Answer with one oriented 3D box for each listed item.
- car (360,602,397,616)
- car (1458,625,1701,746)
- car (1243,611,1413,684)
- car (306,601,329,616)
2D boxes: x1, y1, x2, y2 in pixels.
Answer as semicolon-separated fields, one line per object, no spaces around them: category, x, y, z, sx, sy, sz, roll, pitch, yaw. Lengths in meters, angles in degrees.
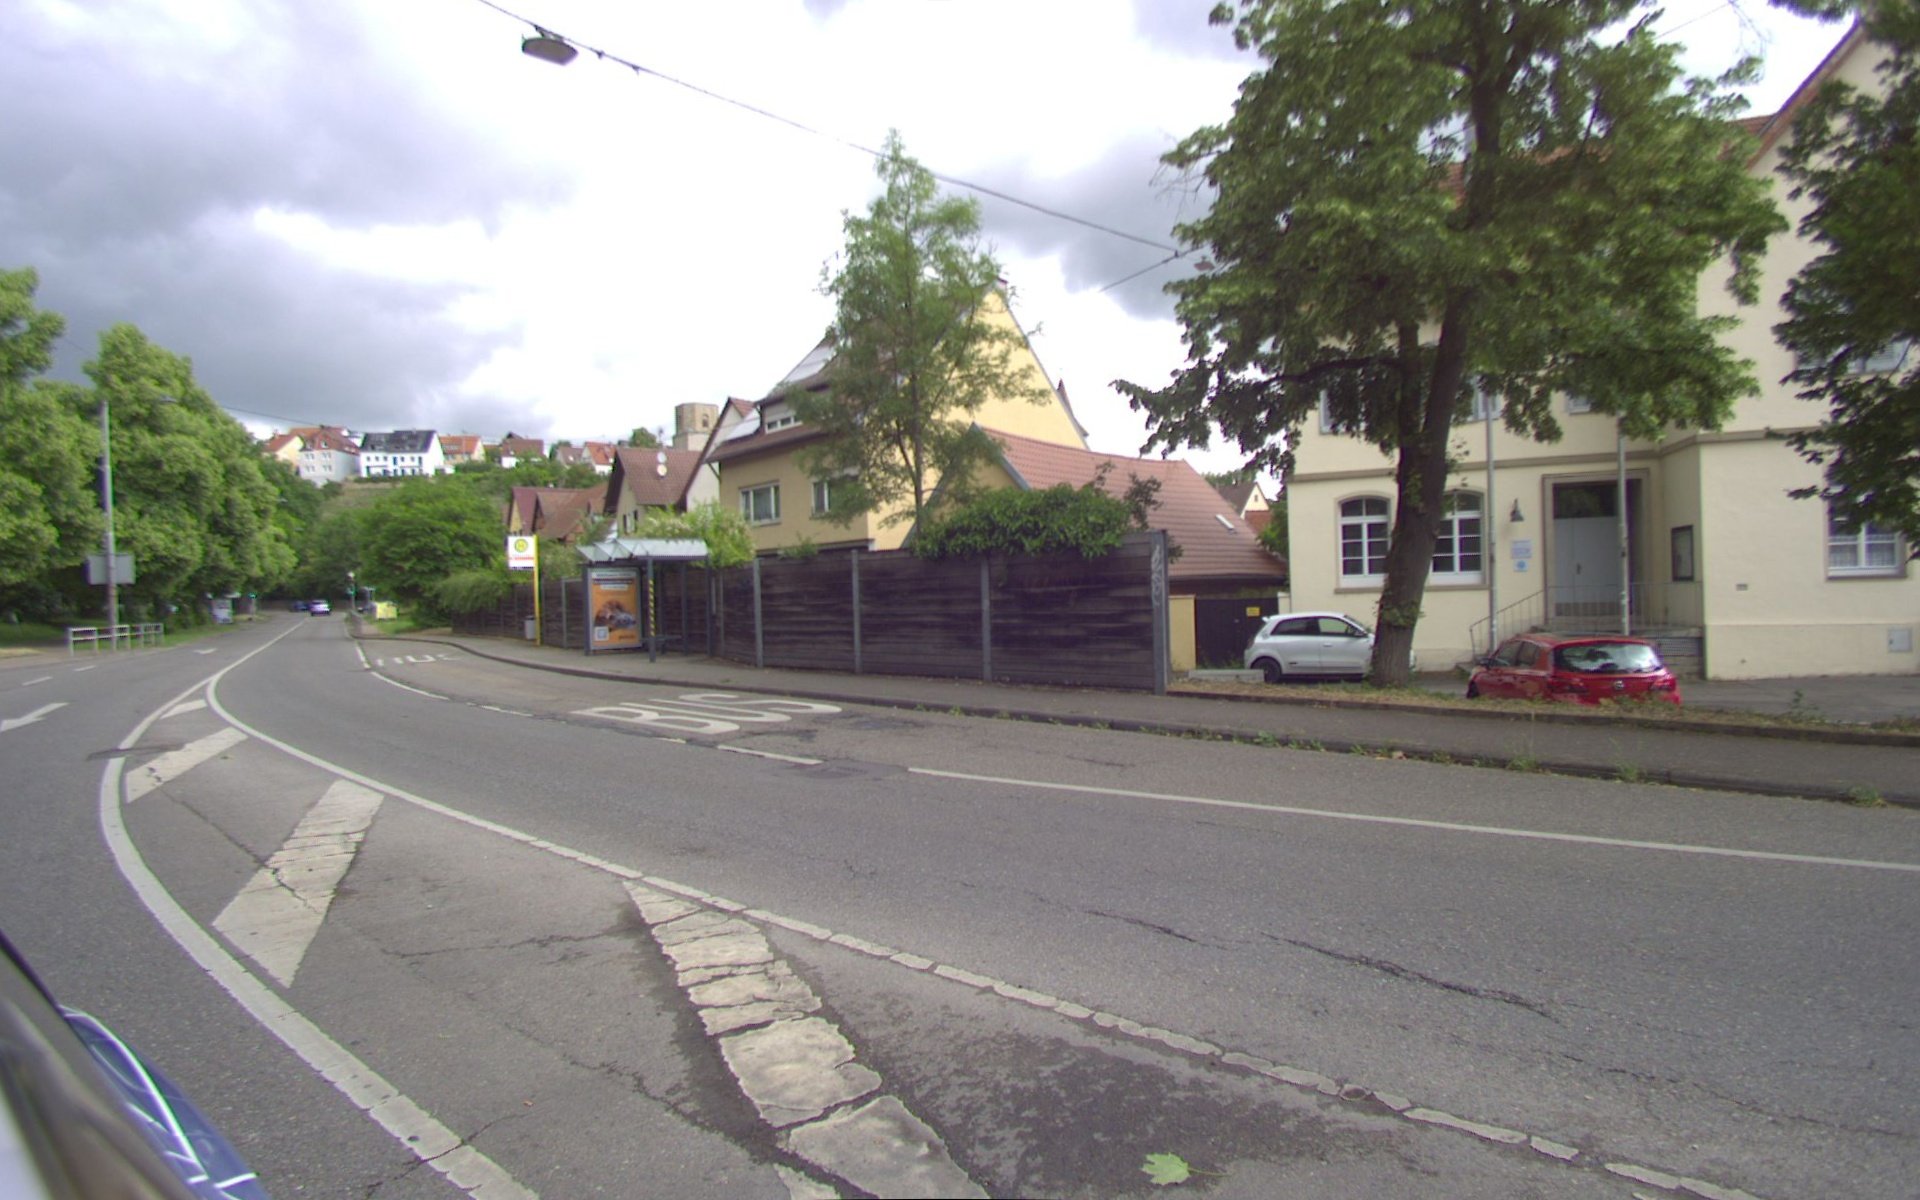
car;-67.089;1.041;116.806;3.619;1.596;1.771;-1;0;-26
car;8.611;1.114;14.449;1.643;1.393;3.709;-1;0;10
car;8.112;1.026;22.468;3.411;1.490;1.600;-1;0;20
car;-73.350;0.994;115.531;1.967;1.630;4.009;-1;0;-36
